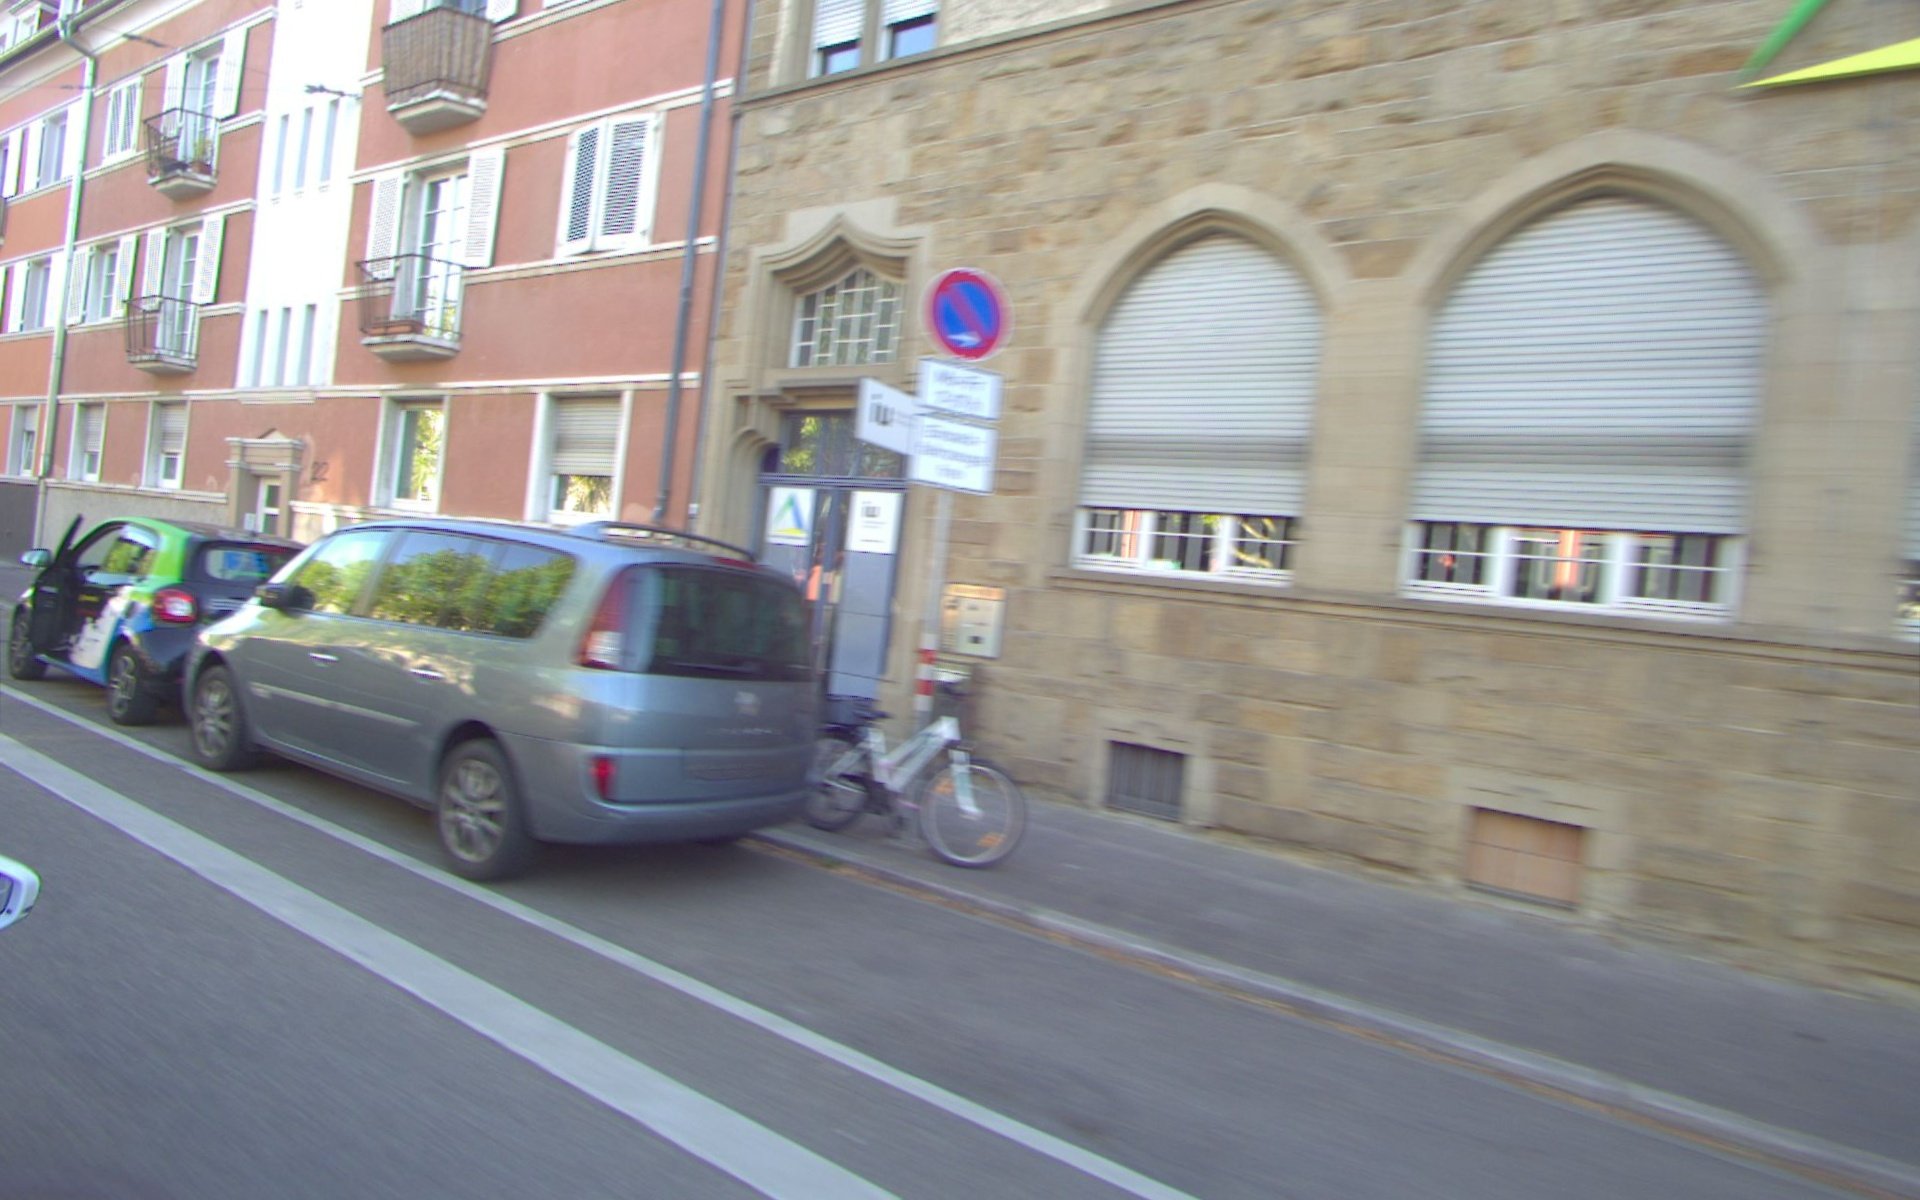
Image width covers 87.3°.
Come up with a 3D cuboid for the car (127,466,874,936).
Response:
[{"bbox_3d":[-3.046,0.343,6.257,4.736,1.877,1.756,7,-1,32],"label":"car"}]

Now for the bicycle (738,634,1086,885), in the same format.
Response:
[{"bbox_3d":[-0.373,0.930,6.448,2.221,1.154,0.515,7,2,32],"label":"bicycle"}]

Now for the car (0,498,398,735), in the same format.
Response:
[{"bbox_3d":[-6.782,0.105,8.764,3.656,1.528,1.635,6,-3,33],"label":"car"}]
